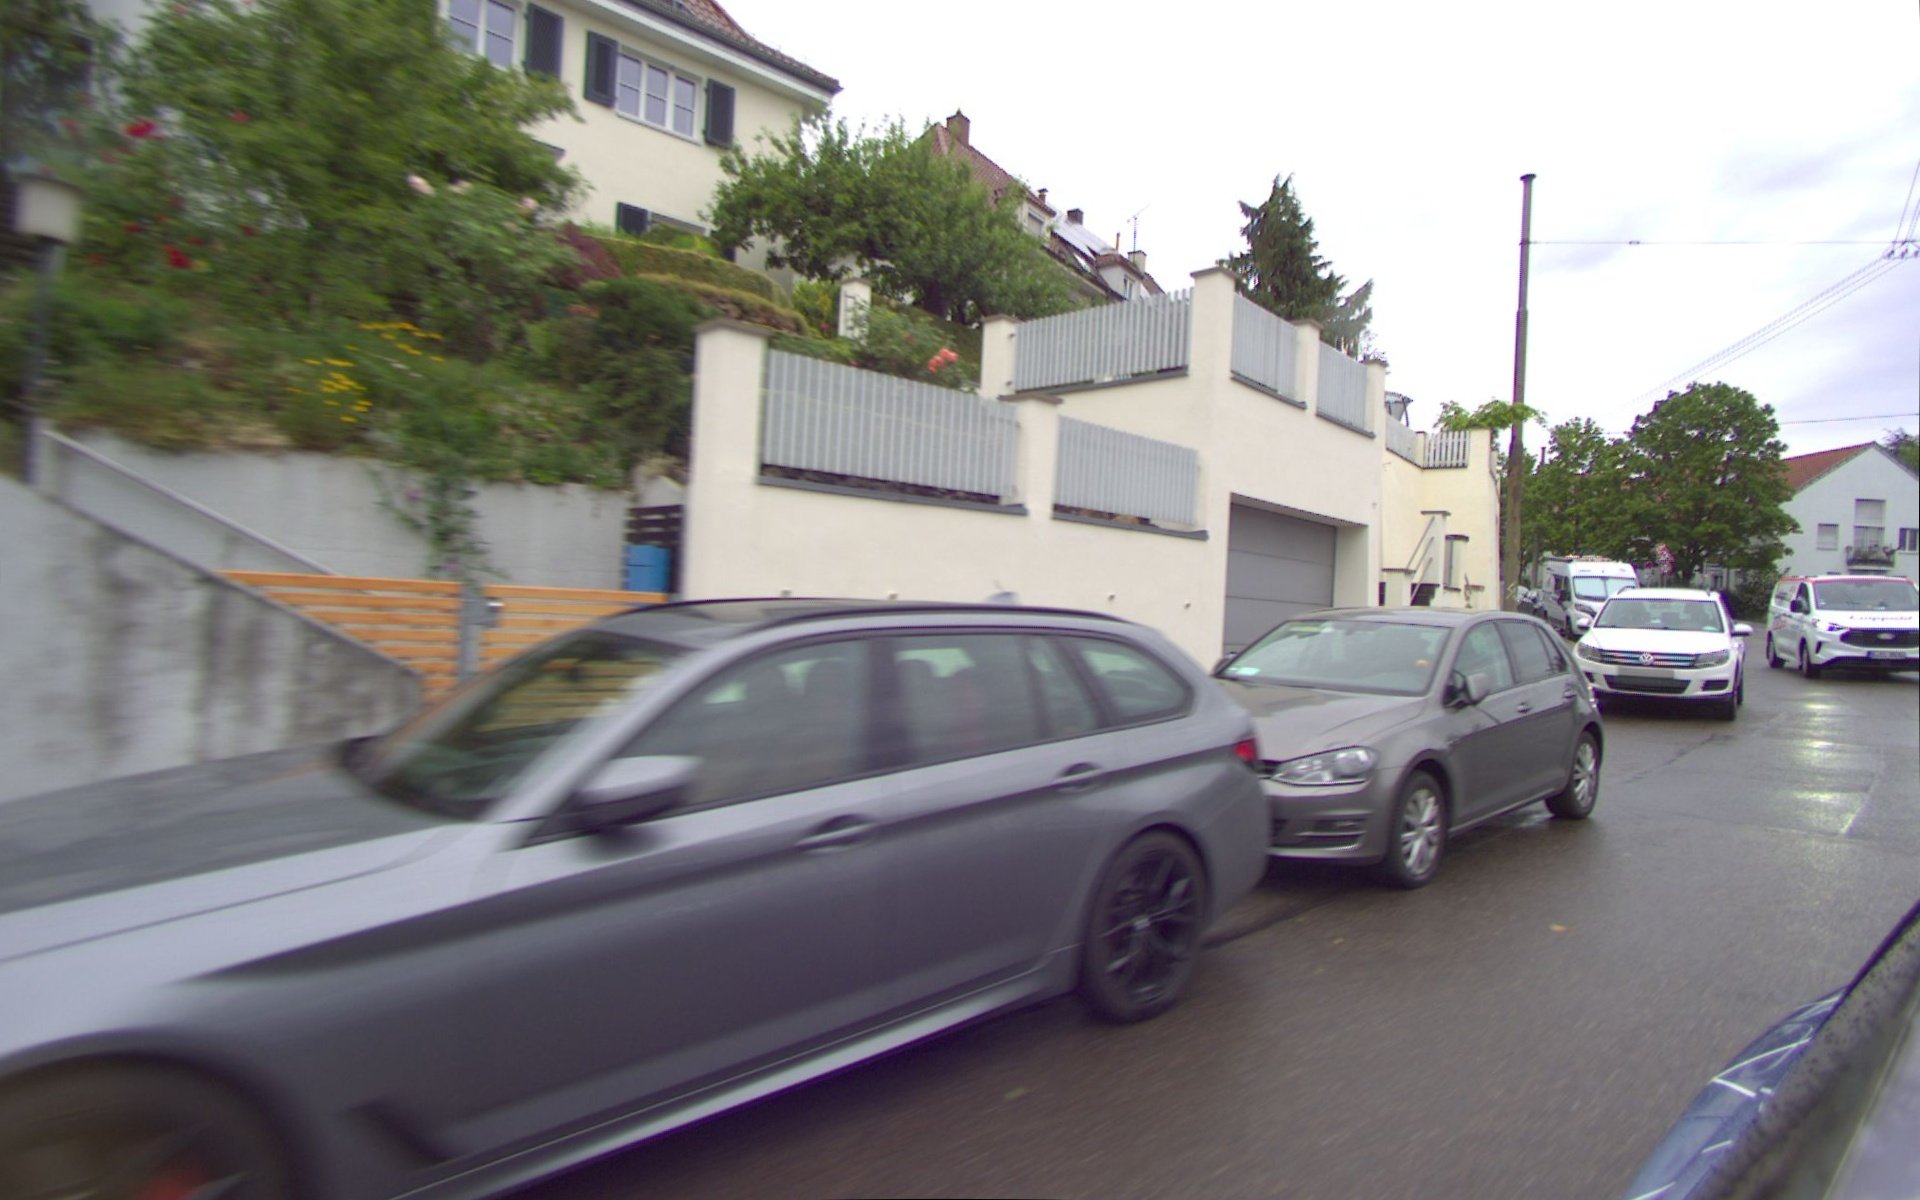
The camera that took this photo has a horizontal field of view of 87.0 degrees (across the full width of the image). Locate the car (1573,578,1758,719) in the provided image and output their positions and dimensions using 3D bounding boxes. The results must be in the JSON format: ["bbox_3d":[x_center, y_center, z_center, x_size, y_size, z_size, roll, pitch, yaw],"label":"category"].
[{"bbox_3d":[9.993,0.549,14.206,1.801,1.670,4.150,1,1,40],"label":"car"}]

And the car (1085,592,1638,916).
[{"bbox_3d":[2.797,0.696,6.540,4.100,1.455,1.644,0,0,-41],"label":"car"}]

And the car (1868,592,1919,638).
[{"bbox_3d":[40.180,0.607,42.573,3.865,1.685,1.845,-1,5,-32],"label":"car"}]

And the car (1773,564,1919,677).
[{"bbox_3d":[17.602,0.345,19.767,2.026,1.963,4.466,0,0,31],"label":"car"}]

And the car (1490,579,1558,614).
[{"bbox_3d":[27.575,-0.212,49.645,1.964,1.453,4.491,3,3,17],"label":"car"}]

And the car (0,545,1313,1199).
[{"bbox_3d":[-0.887,0.642,3.411,4.621,1.515,1.793,-1,1,-39],"label":"car"}]

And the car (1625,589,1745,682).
[{"bbox_3d":[13.563,0.568,19.010,1.673,1.502,4.148,0,1,35],"label":"car"}]

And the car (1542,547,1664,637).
[{"bbox_3d":[20.543,-0.355,32.618,2.080,2.573,5.583,3,3,21],"label":"car"}]
